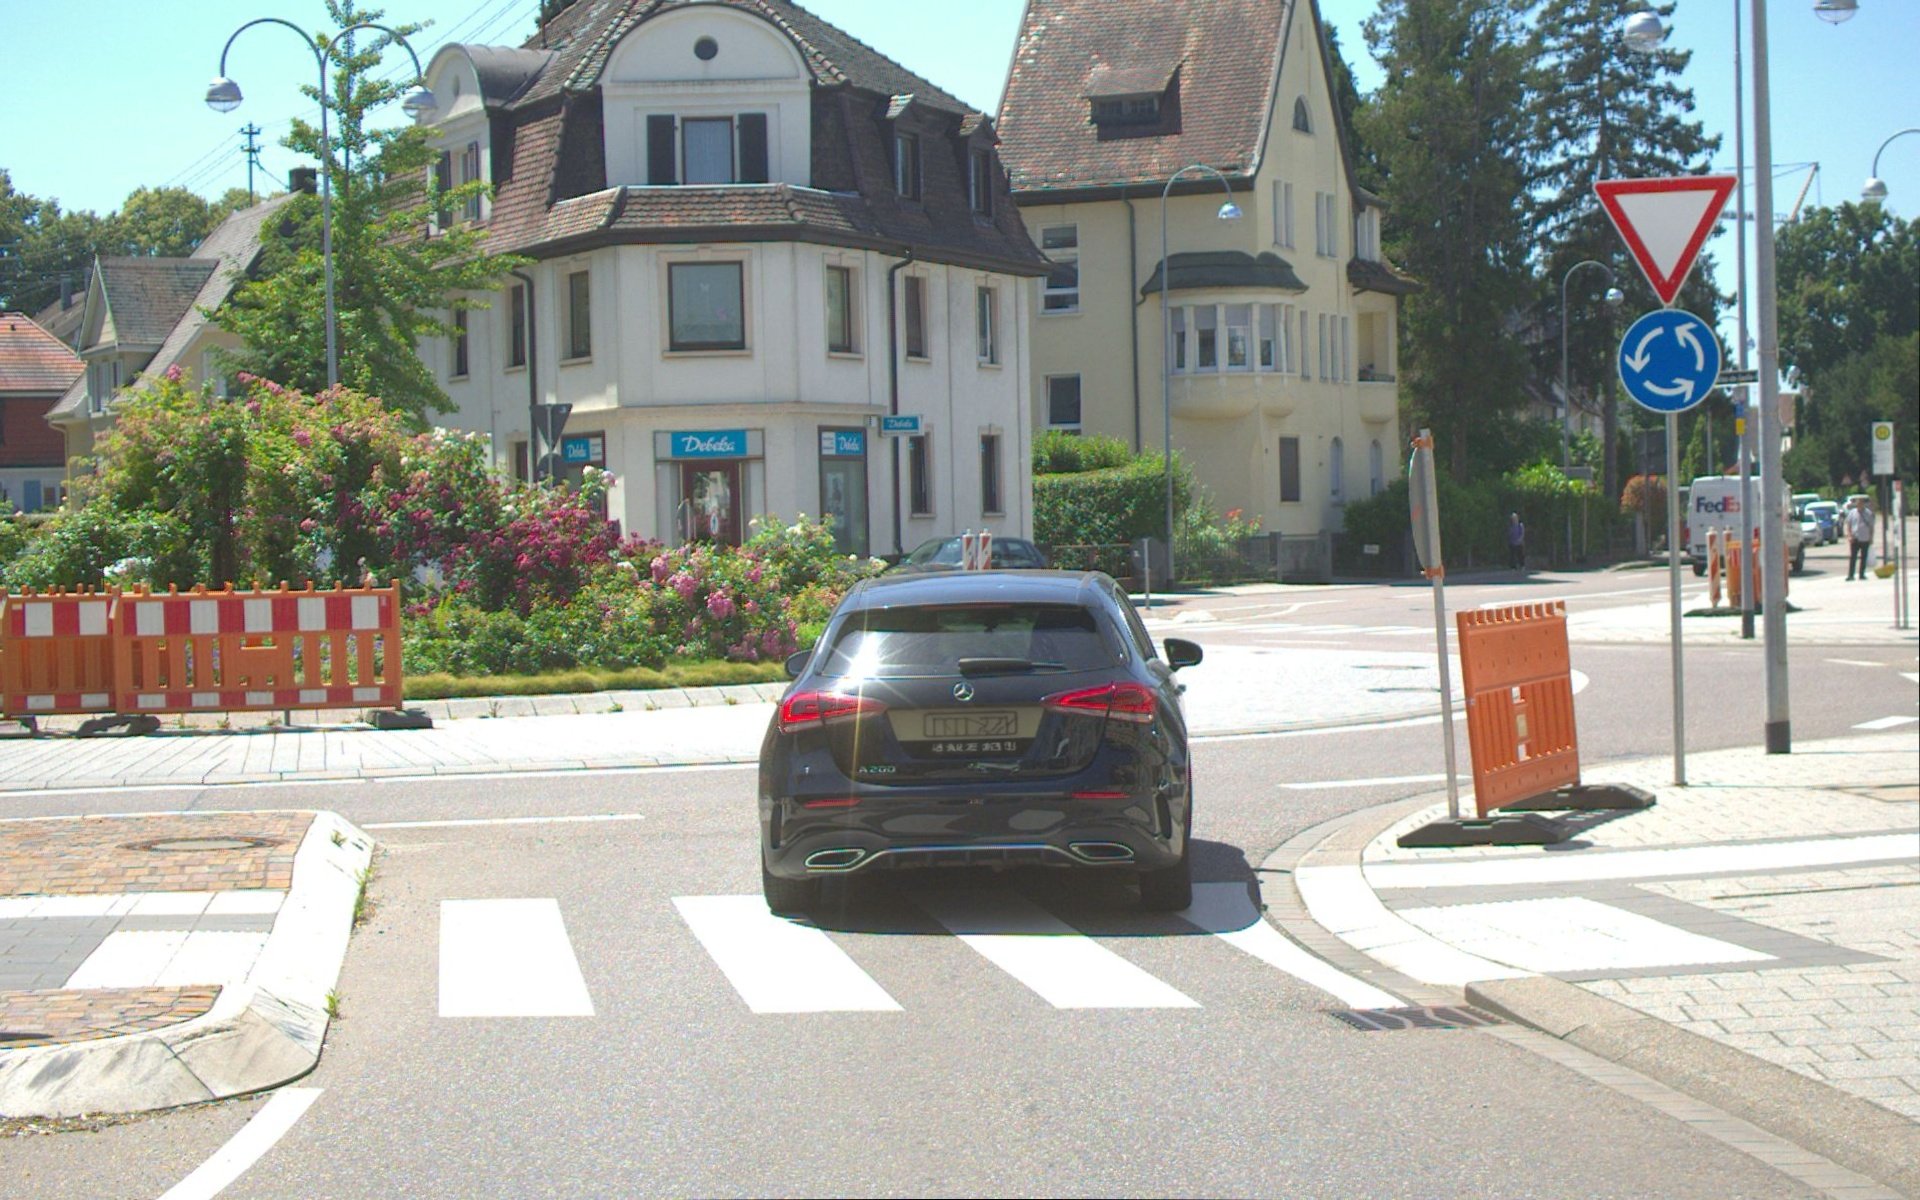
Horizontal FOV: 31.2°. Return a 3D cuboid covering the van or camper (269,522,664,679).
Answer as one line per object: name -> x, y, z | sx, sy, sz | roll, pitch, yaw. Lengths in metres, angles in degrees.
van or camper -> -7.080, -0.016, 49.699 | 5.397, 2.164, 1.999 | 0, 1, -39

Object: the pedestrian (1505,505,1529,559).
pedestrian -> 15.557, -1.897, 96.024 | 0.523, 1.504, 0.472 | 0, 1, 25

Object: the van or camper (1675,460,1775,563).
van or camper -> 20.014, -2.312, 89.870 | 2.207, 2.601, 3.997 | 0, 1, 17

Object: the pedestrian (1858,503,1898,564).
pedestrian -> 20.420, -1.479, 76.477 | 0.667, 1.281, 0.586 | -4, 0, 27

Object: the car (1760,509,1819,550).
car -> 33.489, -2.852, 138.765 | 1.995, 1.645, 3.997 | 0, 1, 18

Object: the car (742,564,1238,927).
car -> 0.104, 0.560, 15.567 | 1.953, 1.422, 4.000 | 0, 0, 0

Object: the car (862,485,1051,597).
car -> -0.022, -0.986, 56.891 | 1.922, 1.766, 3.996 | 1, 1, 19
